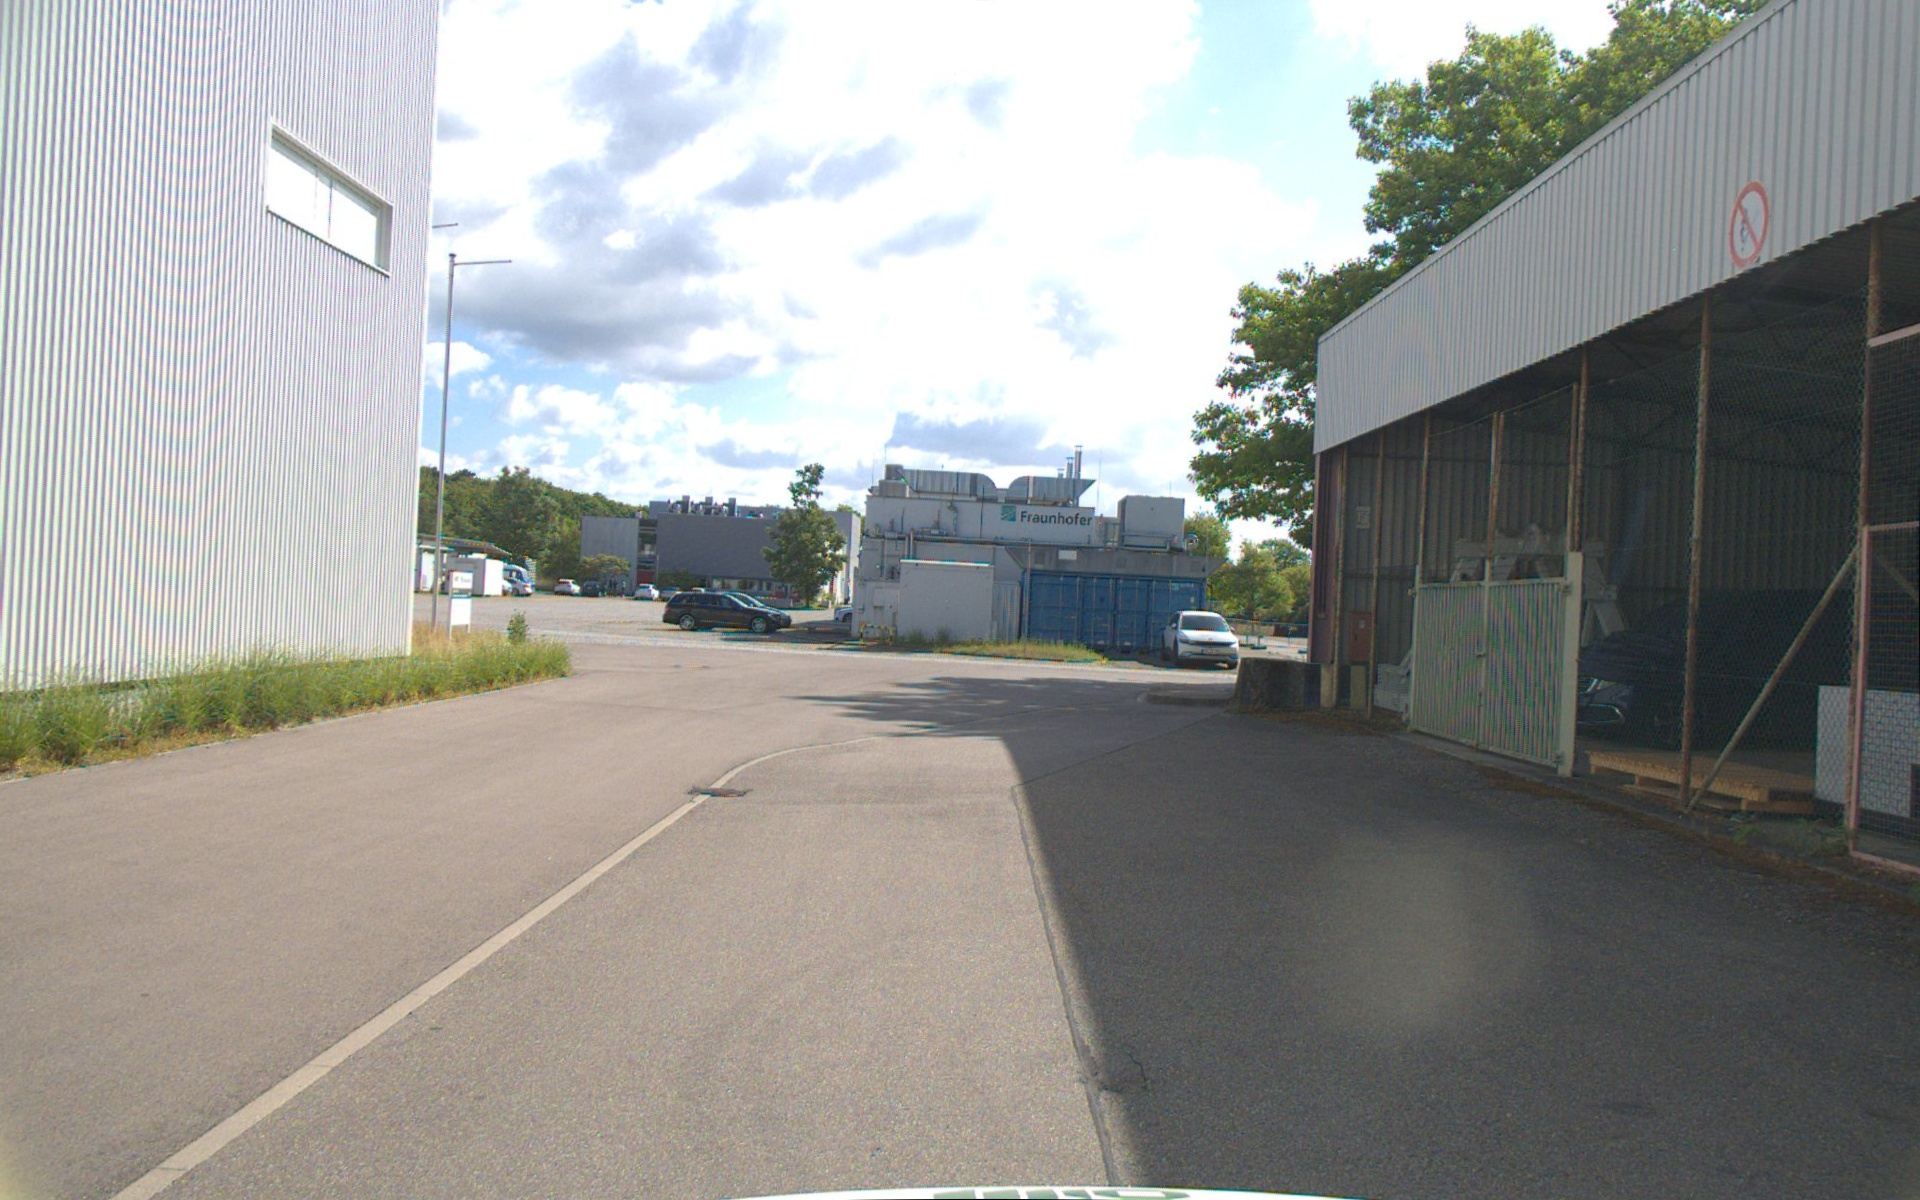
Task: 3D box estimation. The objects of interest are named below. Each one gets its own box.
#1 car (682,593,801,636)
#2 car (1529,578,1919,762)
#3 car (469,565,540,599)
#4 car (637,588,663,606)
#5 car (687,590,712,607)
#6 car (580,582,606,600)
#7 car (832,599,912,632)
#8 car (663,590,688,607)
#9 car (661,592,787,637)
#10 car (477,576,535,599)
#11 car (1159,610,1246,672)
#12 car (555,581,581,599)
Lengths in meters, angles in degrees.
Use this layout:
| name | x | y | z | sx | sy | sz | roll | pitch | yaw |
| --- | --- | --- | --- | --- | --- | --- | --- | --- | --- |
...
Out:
| name | x | y | z | sx | sy | sz | roll | pitch | yaw |
| --- | --- | --- | --- | --- | --- | --- | --- | --- | --- |
| car | -8.755 | 0.594 | 66.458 | 4.437 | 1.468 | 1.904 | 3 | -2 | 0 |
| car | 9.923 | 0.857 | 20.267 | 5.065 | 1.952 | 2.276 | 3 | -1 | -5 |
| car | -37.516 | -1.495 | 136.322 | 5.148 | 2.484 | 2.050 | 3 | -1 | 4 |
| car | -30.004 | -0.273 | 160.008 | 1.840 | 1.719 | 4.033 | 1 | -1 | -2 |
| car | -25.210 | -0.105 | 160.111 | 1.840 | 1.564 | 4.033 | 1 | -1 | -2 |
| car | -35.449 | -0.860 | 159.729 | 1.841 | 1.564 | 4.031 | 1 | -1 | -5 |
| car | -4.803 | 0.854 | 90.971 | 4.192 | 1.596 | 1.987 | 3 | -2 | 0 |
| car | -27.490 | -0.149 | 159.873 | 1.840 | 1.564 | 4.033 | 1 | -1 | -2 |
| car | -8.983 | 0.570 | 63.198 | 4.437 | 1.468 | 1.987 | 3 | -2 | 0 |
| car | -36.573 | -1.007 | 133.383 | 4.024 | 1.659 | 1.808 | 3 | -1 | 4 |
| car | 7.371 | 1.214 | 50.711 | 1.941 | 1.621 | 4.340 | 3 | 1 | 0 |
| car | -37.851 | -0.970 | 159.831 | 1.810 | 1.698 | 4.129 | 1 | -1 | -5 |
